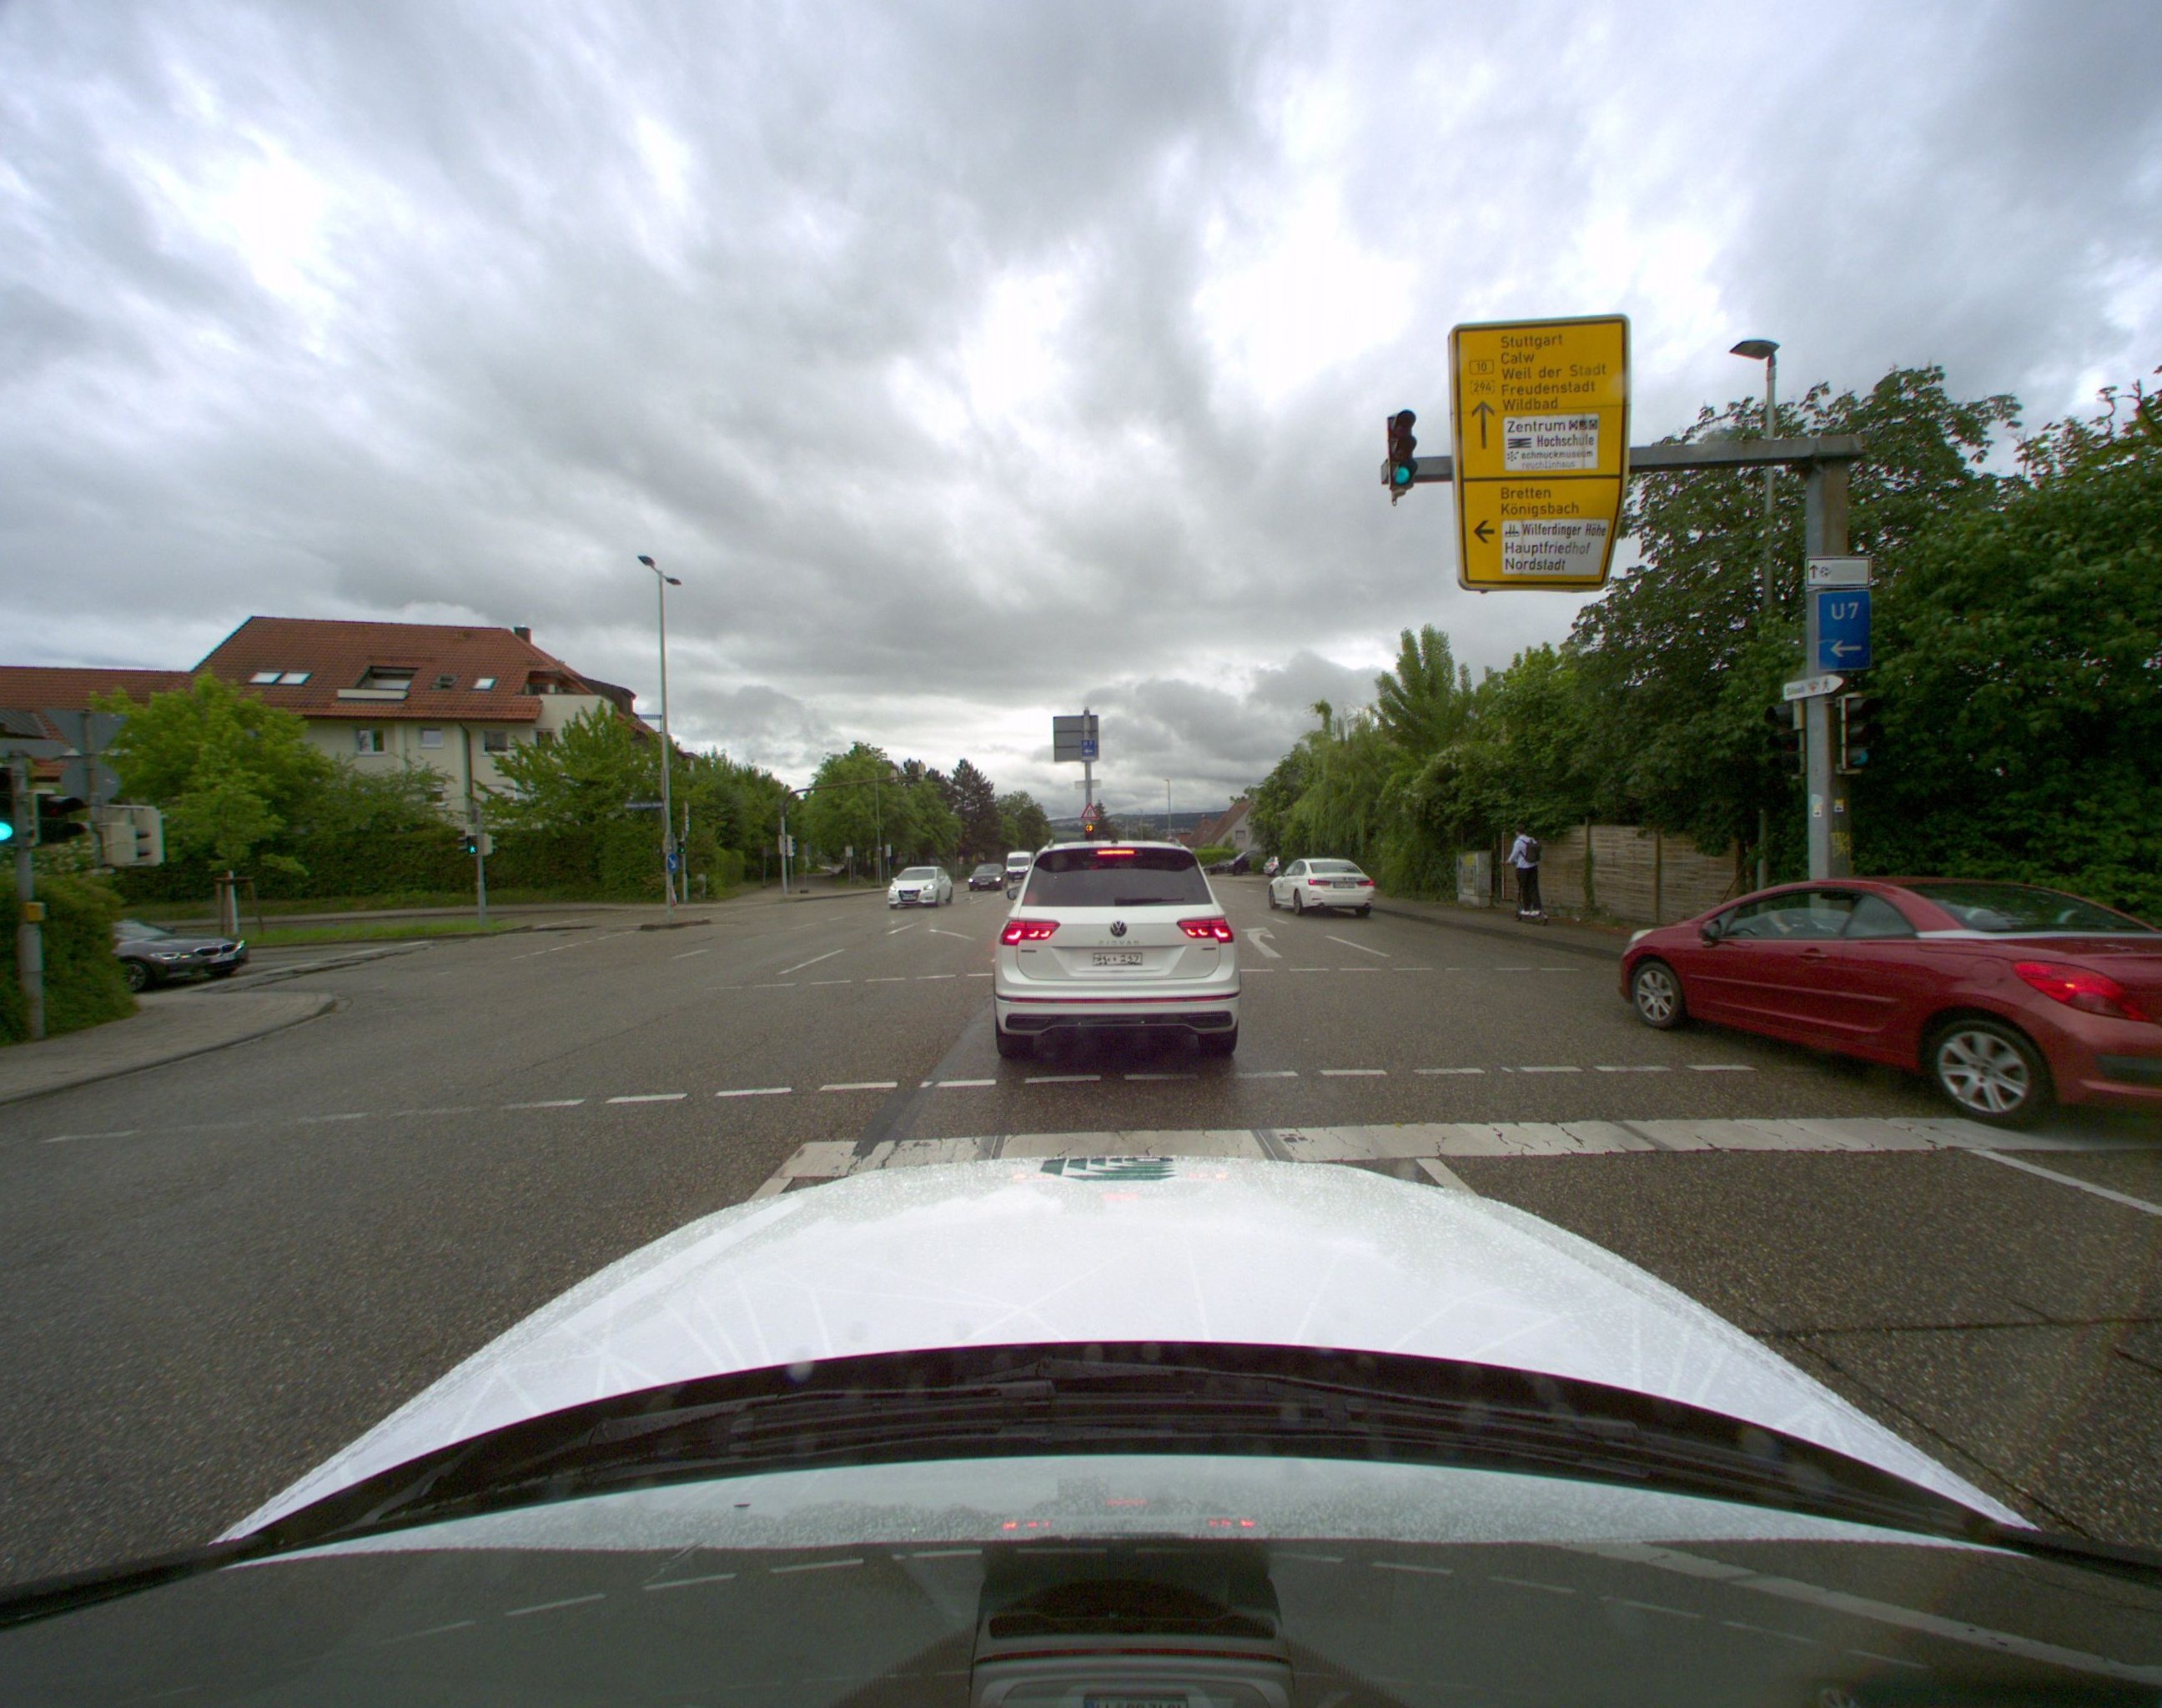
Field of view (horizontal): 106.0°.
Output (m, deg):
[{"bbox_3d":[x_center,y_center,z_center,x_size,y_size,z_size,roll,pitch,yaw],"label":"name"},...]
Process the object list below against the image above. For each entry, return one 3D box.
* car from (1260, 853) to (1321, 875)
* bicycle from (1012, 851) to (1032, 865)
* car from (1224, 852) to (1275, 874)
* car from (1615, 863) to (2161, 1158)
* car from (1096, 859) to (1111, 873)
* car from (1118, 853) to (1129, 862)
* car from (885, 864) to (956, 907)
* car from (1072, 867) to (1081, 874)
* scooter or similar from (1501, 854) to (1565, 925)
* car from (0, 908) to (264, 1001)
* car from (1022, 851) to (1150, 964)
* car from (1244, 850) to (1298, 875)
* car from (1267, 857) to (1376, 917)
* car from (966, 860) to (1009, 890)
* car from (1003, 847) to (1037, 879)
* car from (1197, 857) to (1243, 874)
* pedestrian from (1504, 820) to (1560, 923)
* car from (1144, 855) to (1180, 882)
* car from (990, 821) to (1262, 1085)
[{"bbox_3d":[14.452,0.722,56.268,3.709,1.395,1.725,-2,-2,-6],"label":"car"},{"bbox_3d":[-5.176,0.376,71.110,1.631,1.126,0.468,-3,0,0],"label":"bicycle"},{"bbox_3d":[13.210,0.730,64.105,3.618,1.626,1.790,-1,1,-3],"label":"car"},{"bbox_3d":[5.859,0.788,5.865,1.620,1.403,3.689,0,0,0],"label":"car"},{"bbox_3d":[2.810,1.477,101.852,1.706,1.758,3.802,-2,0,1],"label":"car"},{"bbox_3d":[7.600,0.568,145.806,1.843,1.574,4.002,-2,0,2],"label":"car"},{"bbox_3d":[-5.825,1.102,29.972,1.740,1.397,3.802,-2,0,1],"label":"car"},{"bbox_3d":[-1.085,4.203,203.725,1.986,1.728,4.001,0,-1,2],"label":"car"},{"bbox_3d":[9.024,0.681,16.303,0.460,1.361,1.384,-1,0,-2],"label":"scooter or similar"},{"bbox_3d":[-19.899,2.048,16.571,4.413,1.393,1.774,-4,1,-5],"label":"car"},{"bbox_3d":[0.148,0.762,13.533,1.791,1.589,3.928,-1,0,2],"label":"car"},{"bbox_3d":[14.380,0.644,61.704,3.618,1.746,1.707,-1,2,-2],"label":"car"},{"bbox_3d":[6.260,0.793,21.665,1.659,1.427,4.305,0,0,0],"label":"car"},{"bbox_3d":[-5.266,1.178,46.452,1.770,1.502,4.472,-3,0,1],"label":"car"},{"bbox_3d":[-5.038,0.707,67.983,2.290,2.528,5.773,-2,0,0],"label":"car"},{"bbox_3d":[11.762,0.997,68.998,3.675,1.370,1.518,-1,-2,0],"label":"car"},{"bbox_3d":[9.019,0.352,16.307,0.654,2.002,0.717,-1,-1,-2],"label":"pedestrian"},{"bbox_3d":[4.854,0.849,49.296,1.730,1.575,4.067,0,0,0],"label":"car"},{"bbox_3d":[0.335,0.646,7.442,1.756,1.696,4.273,1,0,1],"label":"car"}]
